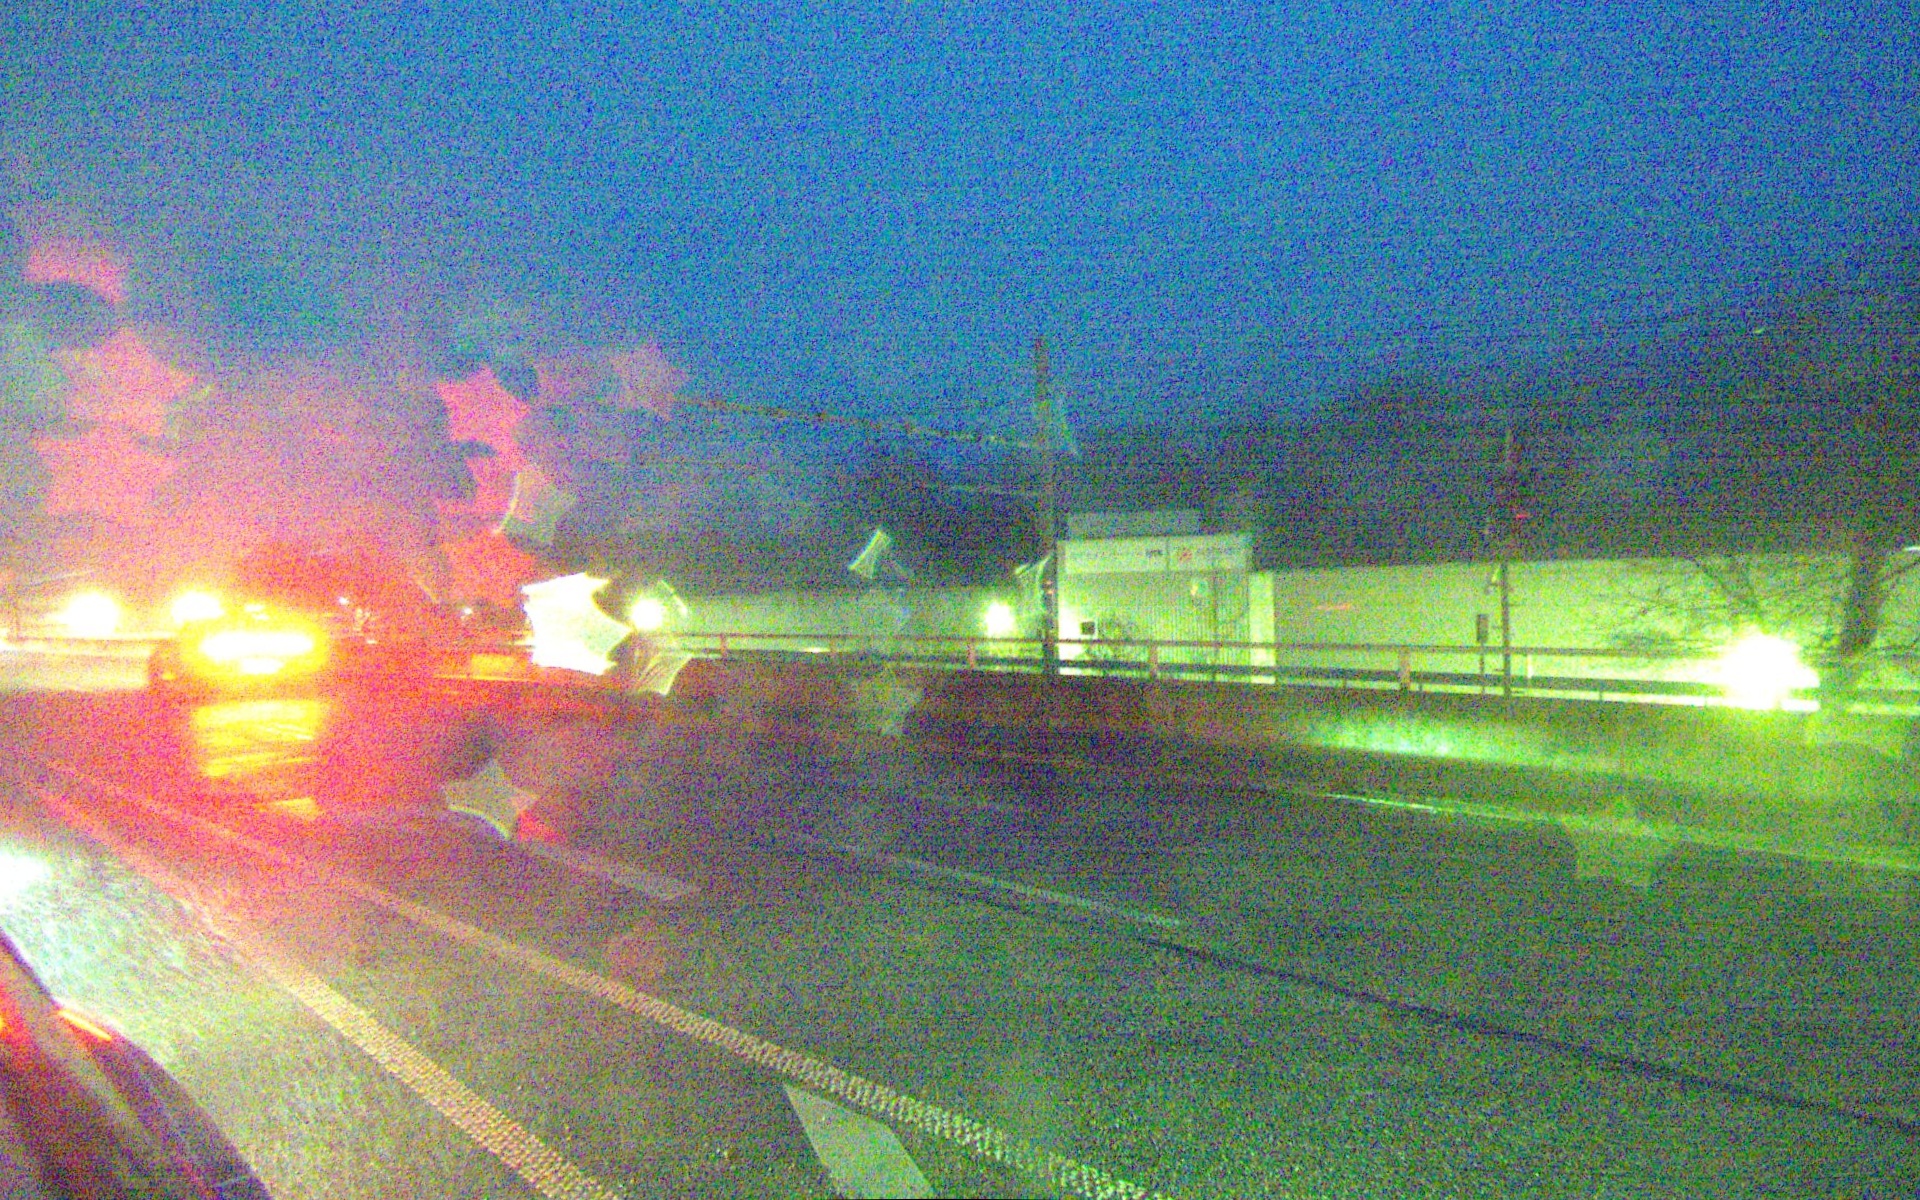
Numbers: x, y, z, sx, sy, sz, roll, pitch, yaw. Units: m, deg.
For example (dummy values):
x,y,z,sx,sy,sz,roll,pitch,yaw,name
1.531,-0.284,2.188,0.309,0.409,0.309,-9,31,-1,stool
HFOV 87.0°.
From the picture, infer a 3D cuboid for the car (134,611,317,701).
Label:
x,y,z,sx,sy,sz,roll,pitch,yaw,name
-14.611,1.081,20.049,4.480,1.580,1.869,-3,-2,39,car
